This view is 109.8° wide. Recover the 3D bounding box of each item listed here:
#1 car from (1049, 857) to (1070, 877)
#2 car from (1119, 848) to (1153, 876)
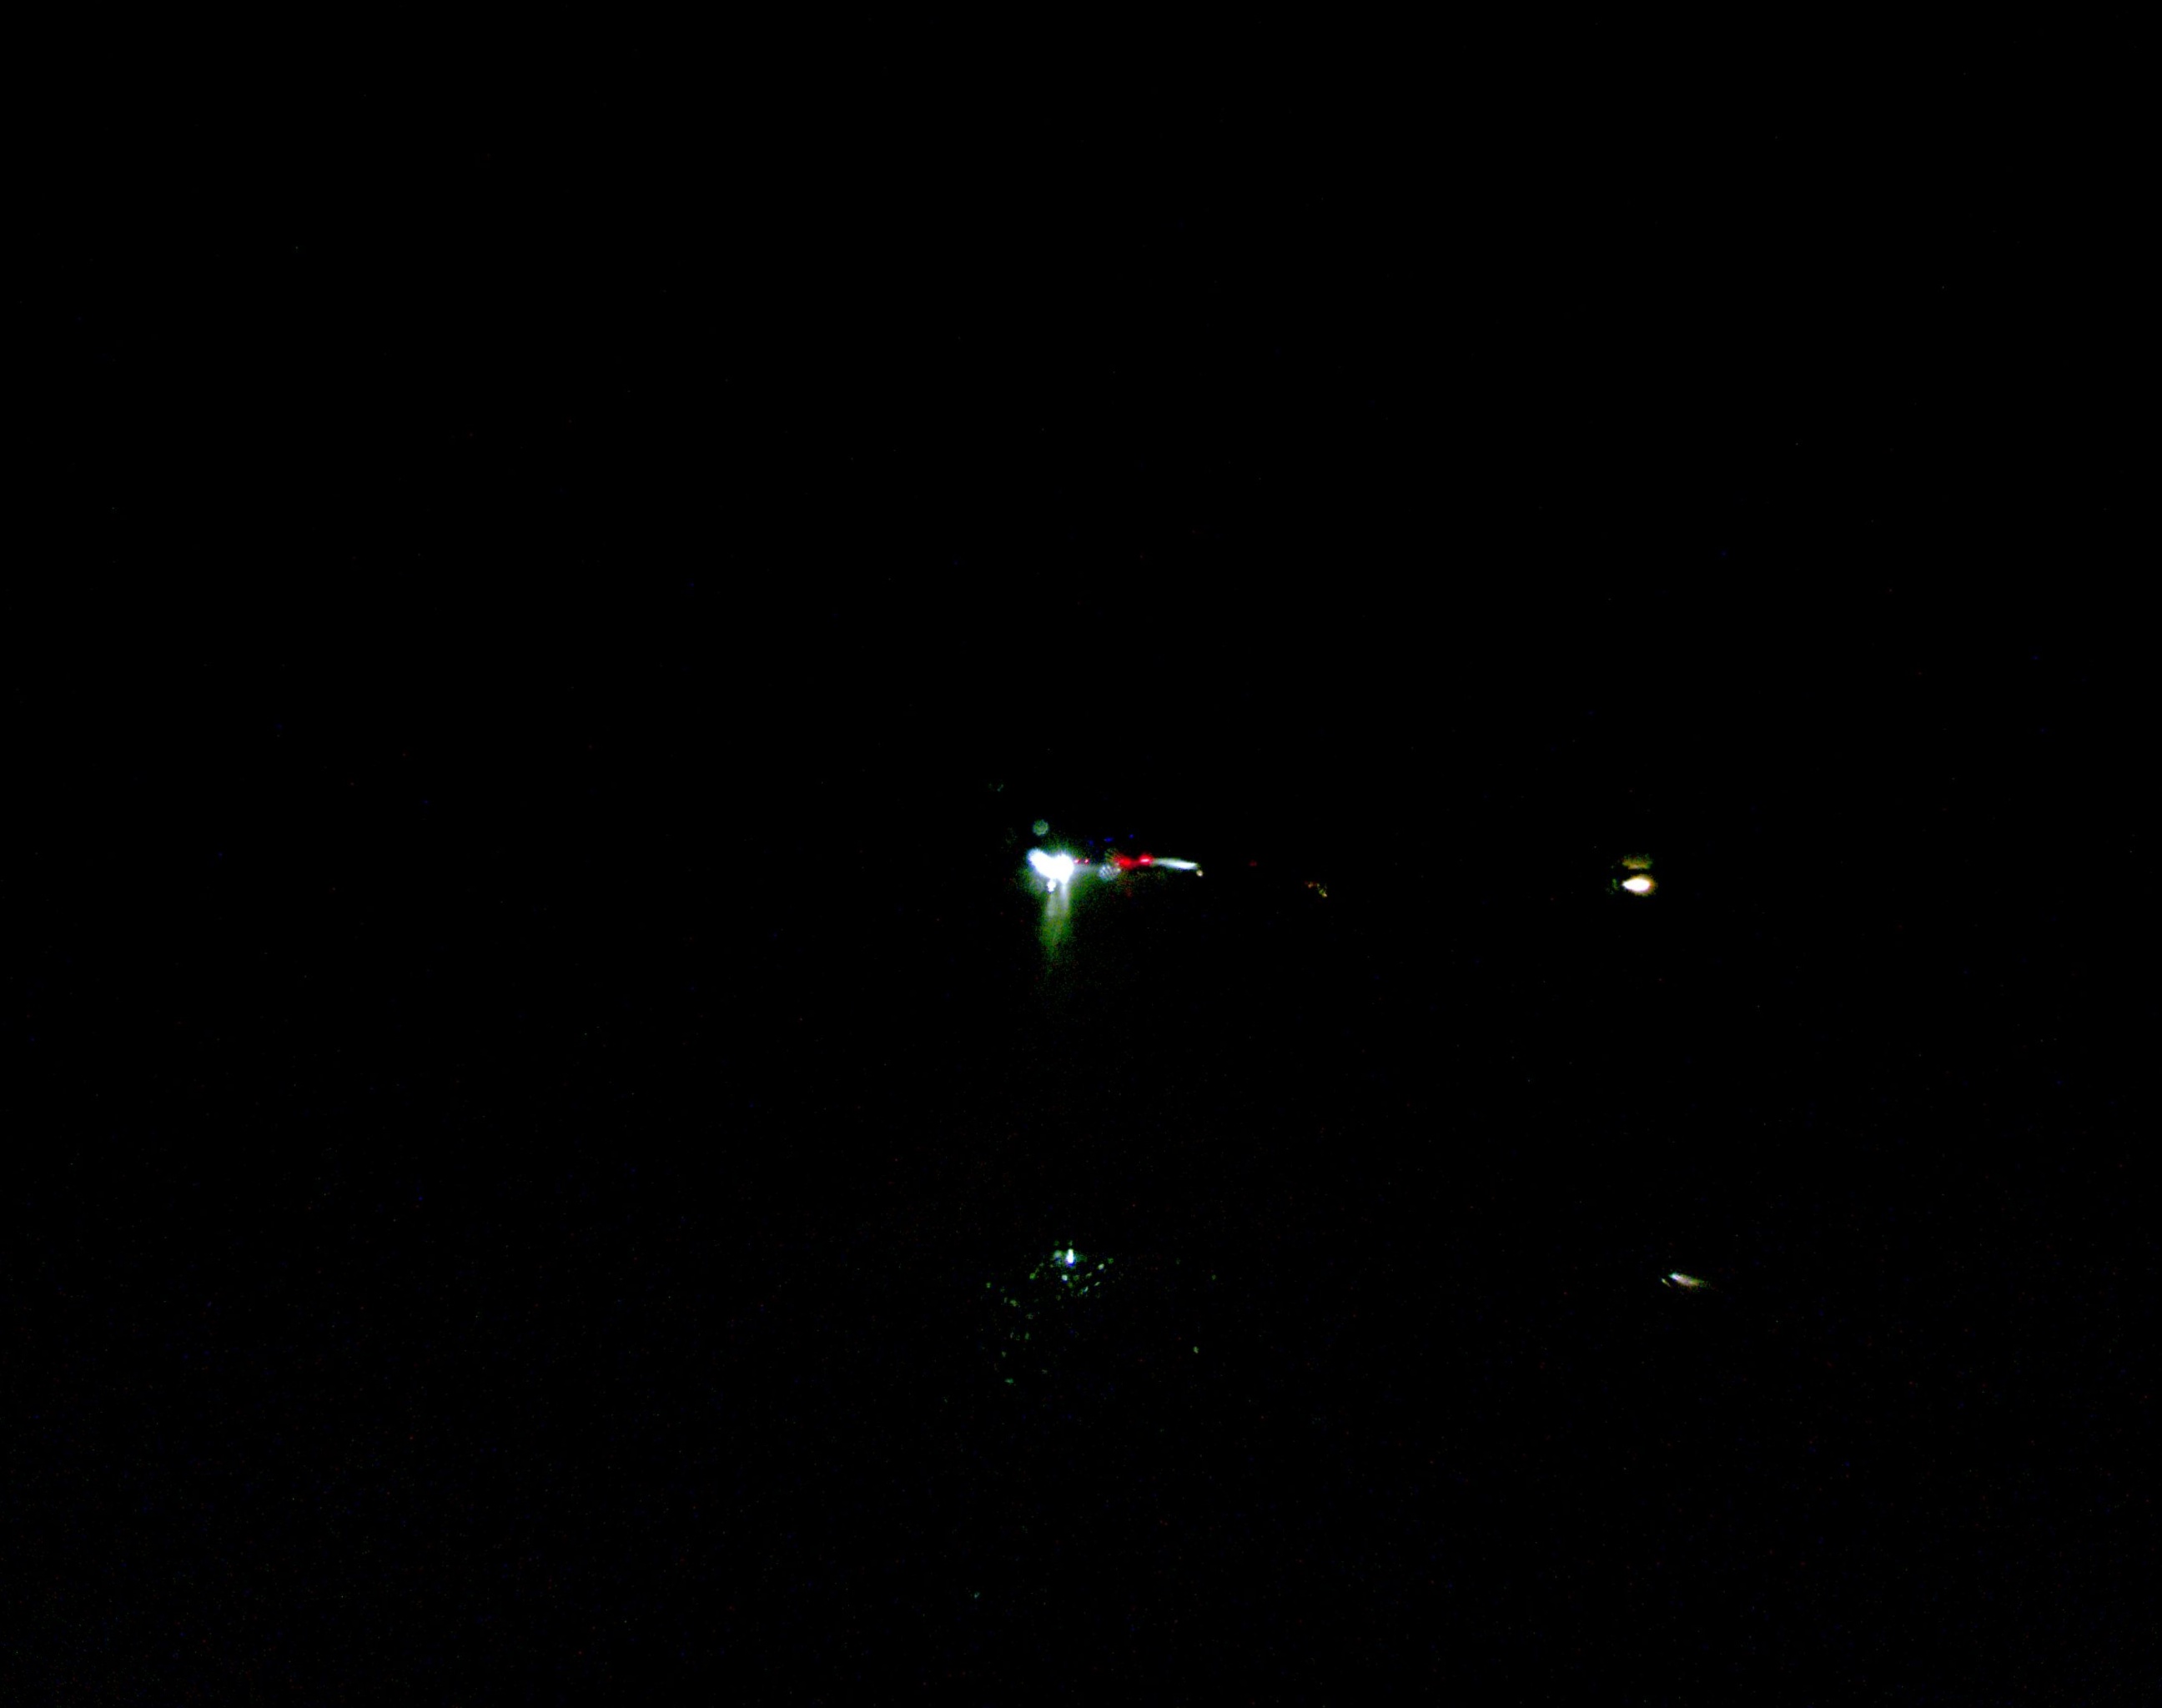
[{"bbox_3d":[-2.617,1.533,89.844,1.999,2.002,3.996,-5,2,-6],"label":"car"},{"bbox_3d":[3.562,0.498,49.838,1.785,1.657,4.471,-4,0,0],"label":"car"}]
